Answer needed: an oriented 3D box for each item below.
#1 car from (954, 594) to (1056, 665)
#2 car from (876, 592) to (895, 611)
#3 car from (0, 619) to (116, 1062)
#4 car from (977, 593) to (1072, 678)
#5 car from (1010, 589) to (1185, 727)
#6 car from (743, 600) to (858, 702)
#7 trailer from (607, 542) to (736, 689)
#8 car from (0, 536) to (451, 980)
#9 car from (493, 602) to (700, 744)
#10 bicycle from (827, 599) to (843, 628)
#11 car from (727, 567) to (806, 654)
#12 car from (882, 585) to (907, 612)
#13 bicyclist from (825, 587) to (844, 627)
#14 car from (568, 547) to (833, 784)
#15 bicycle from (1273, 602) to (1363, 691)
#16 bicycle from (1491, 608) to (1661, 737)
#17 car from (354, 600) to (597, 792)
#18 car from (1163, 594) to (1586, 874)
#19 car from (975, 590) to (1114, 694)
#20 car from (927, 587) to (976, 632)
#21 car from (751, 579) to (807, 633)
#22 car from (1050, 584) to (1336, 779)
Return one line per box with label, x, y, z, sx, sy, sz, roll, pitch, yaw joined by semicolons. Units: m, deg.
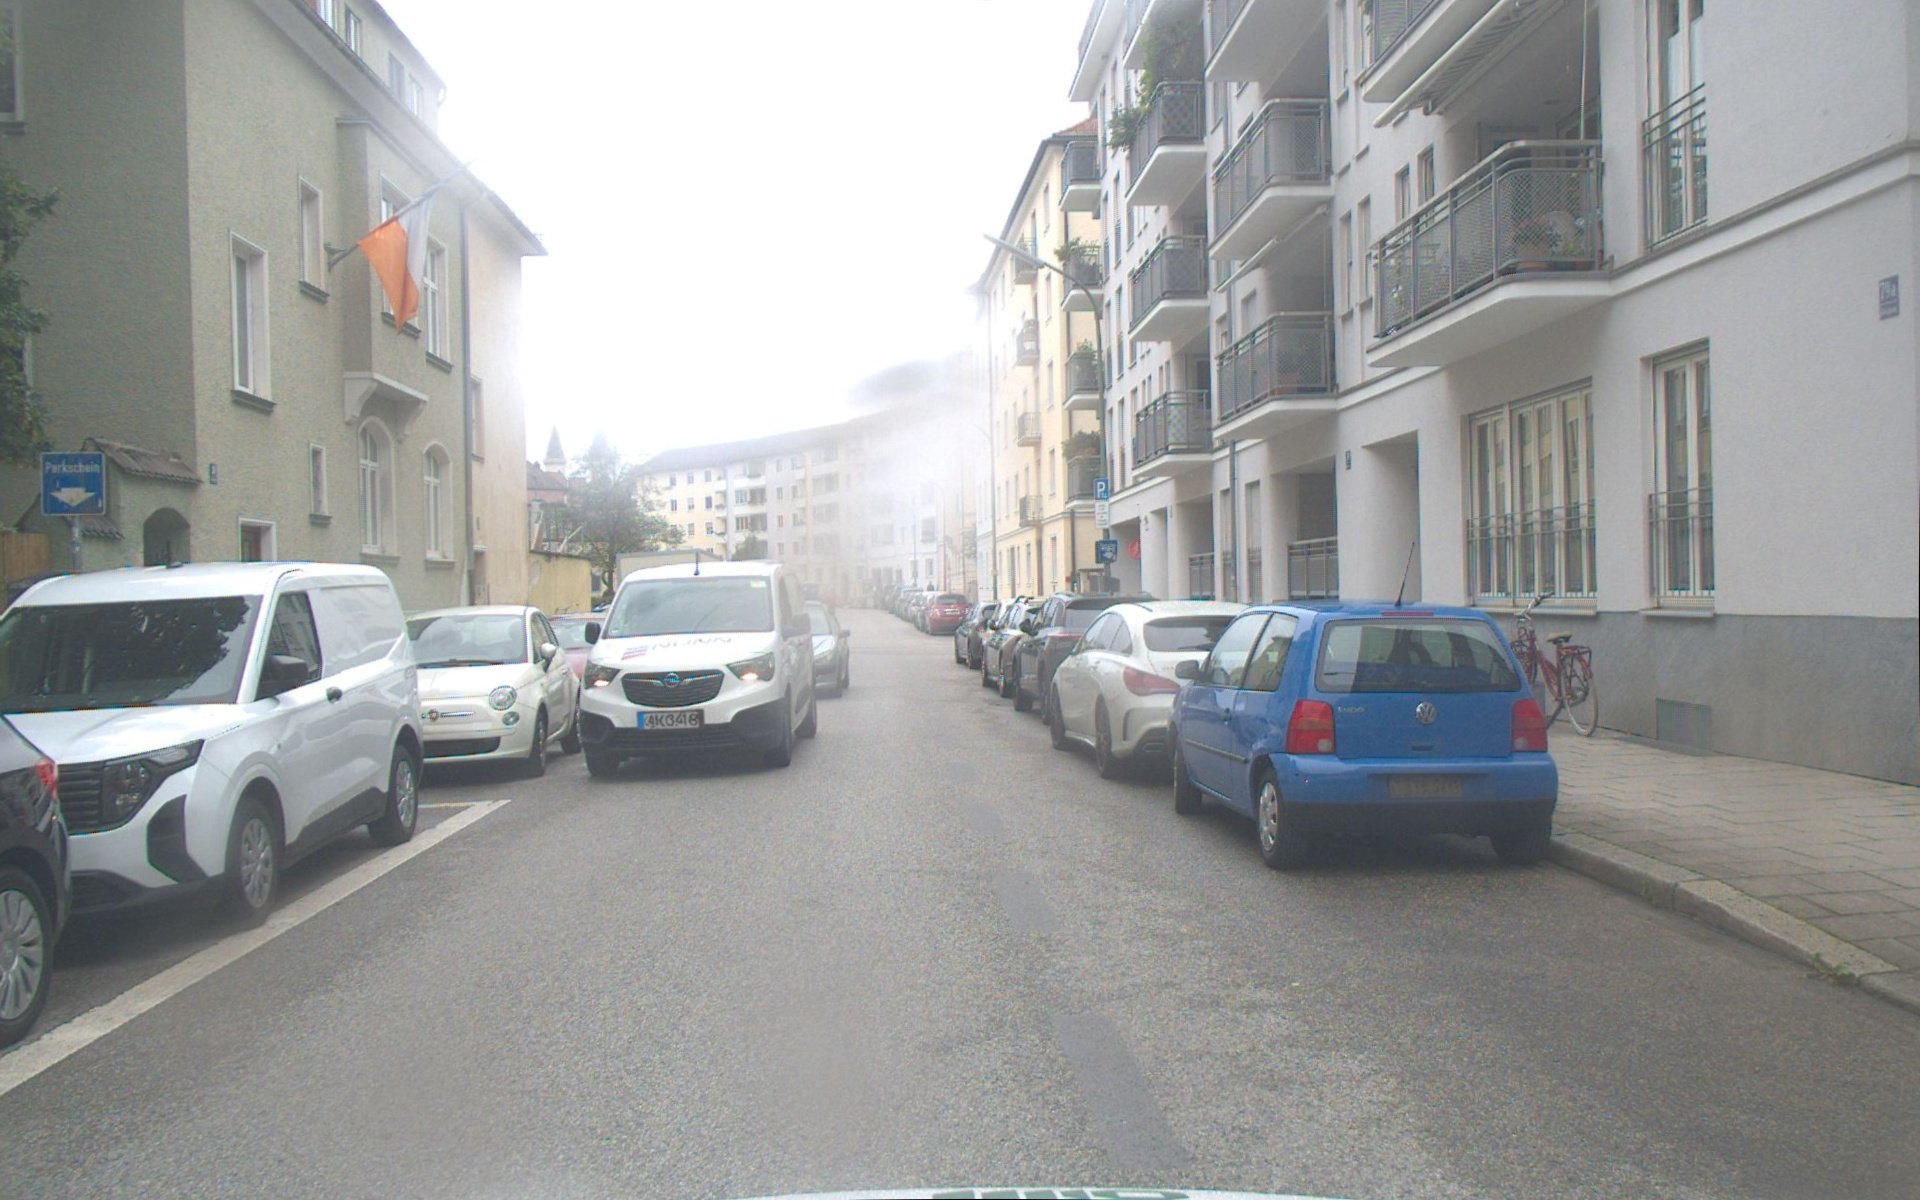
car;0.935;0.624;36.417;1.729;1.432;4.073;-1;0;-6
car;-5.242;0.083;116.372;1.247;1.321;2.794;-1;0;-5
car;-4.002;0.866;4.255;1.656;1.468;4.143;-3;1;-3
car;1.212;0.645;32.281;1.489;1.557;3.523;0;0;-4
car;1.645;0.663;21.030;1.572;1.557;3.980;1;0;-5
car;-2.416;0.746;25.744;1.549;1.436;3.611;-2;0;-2
trailer;-5.382;0.258;31.389;1.675;2.504;4.385;-3;1;-2
car;-4.169;0.674;9.069;1.657;1.835;4.142;-3;1;-4
car;-4.307;0.809;20.216;1.824;1.437;4.329;-3;0;-5
bicycle;-5.149;0.534;67.933;0.494;1.148;1.773;-2;0;-1
car;-6.290;0.290;54.360;2.046;2.682;5.375;-1;1;-2
car;-4.192;-0.091;105.223;1.445;1.669;3.997;0;1;-5
bicyclist;-5.146;0.272;67.906;0.680;1.589;0.966;-2;0;-1
car;-2.277;0.536;15.694;1.735;1.835;4.571;-3;0;0
bicycle;5.053;0.628;23.484;0.615;1.180;2.125;-2;0;-5
bicycle;5.351;0.618;14.496;0.664;1.046;1.833;-1;-1;-4
car;-4.356;0.792;15.305;1.445;1.492;3.310;-3;0;-5
car;2.378;0.706;10.359;1.586;1.437;3.551;1;0;-3
car;1.317;0.641;27.570;1.700;1.557;4.617;1;0;-5
car;-0.329;0.319;60.258;1.564;1.535;3.798;-1;0;-3
car;-7.235;0.205;66.442;1.845;1.965;4.599;-3;1;-3
car;1.906;0.623;14.760;1.625;1.465;4.203;1;0;-5
